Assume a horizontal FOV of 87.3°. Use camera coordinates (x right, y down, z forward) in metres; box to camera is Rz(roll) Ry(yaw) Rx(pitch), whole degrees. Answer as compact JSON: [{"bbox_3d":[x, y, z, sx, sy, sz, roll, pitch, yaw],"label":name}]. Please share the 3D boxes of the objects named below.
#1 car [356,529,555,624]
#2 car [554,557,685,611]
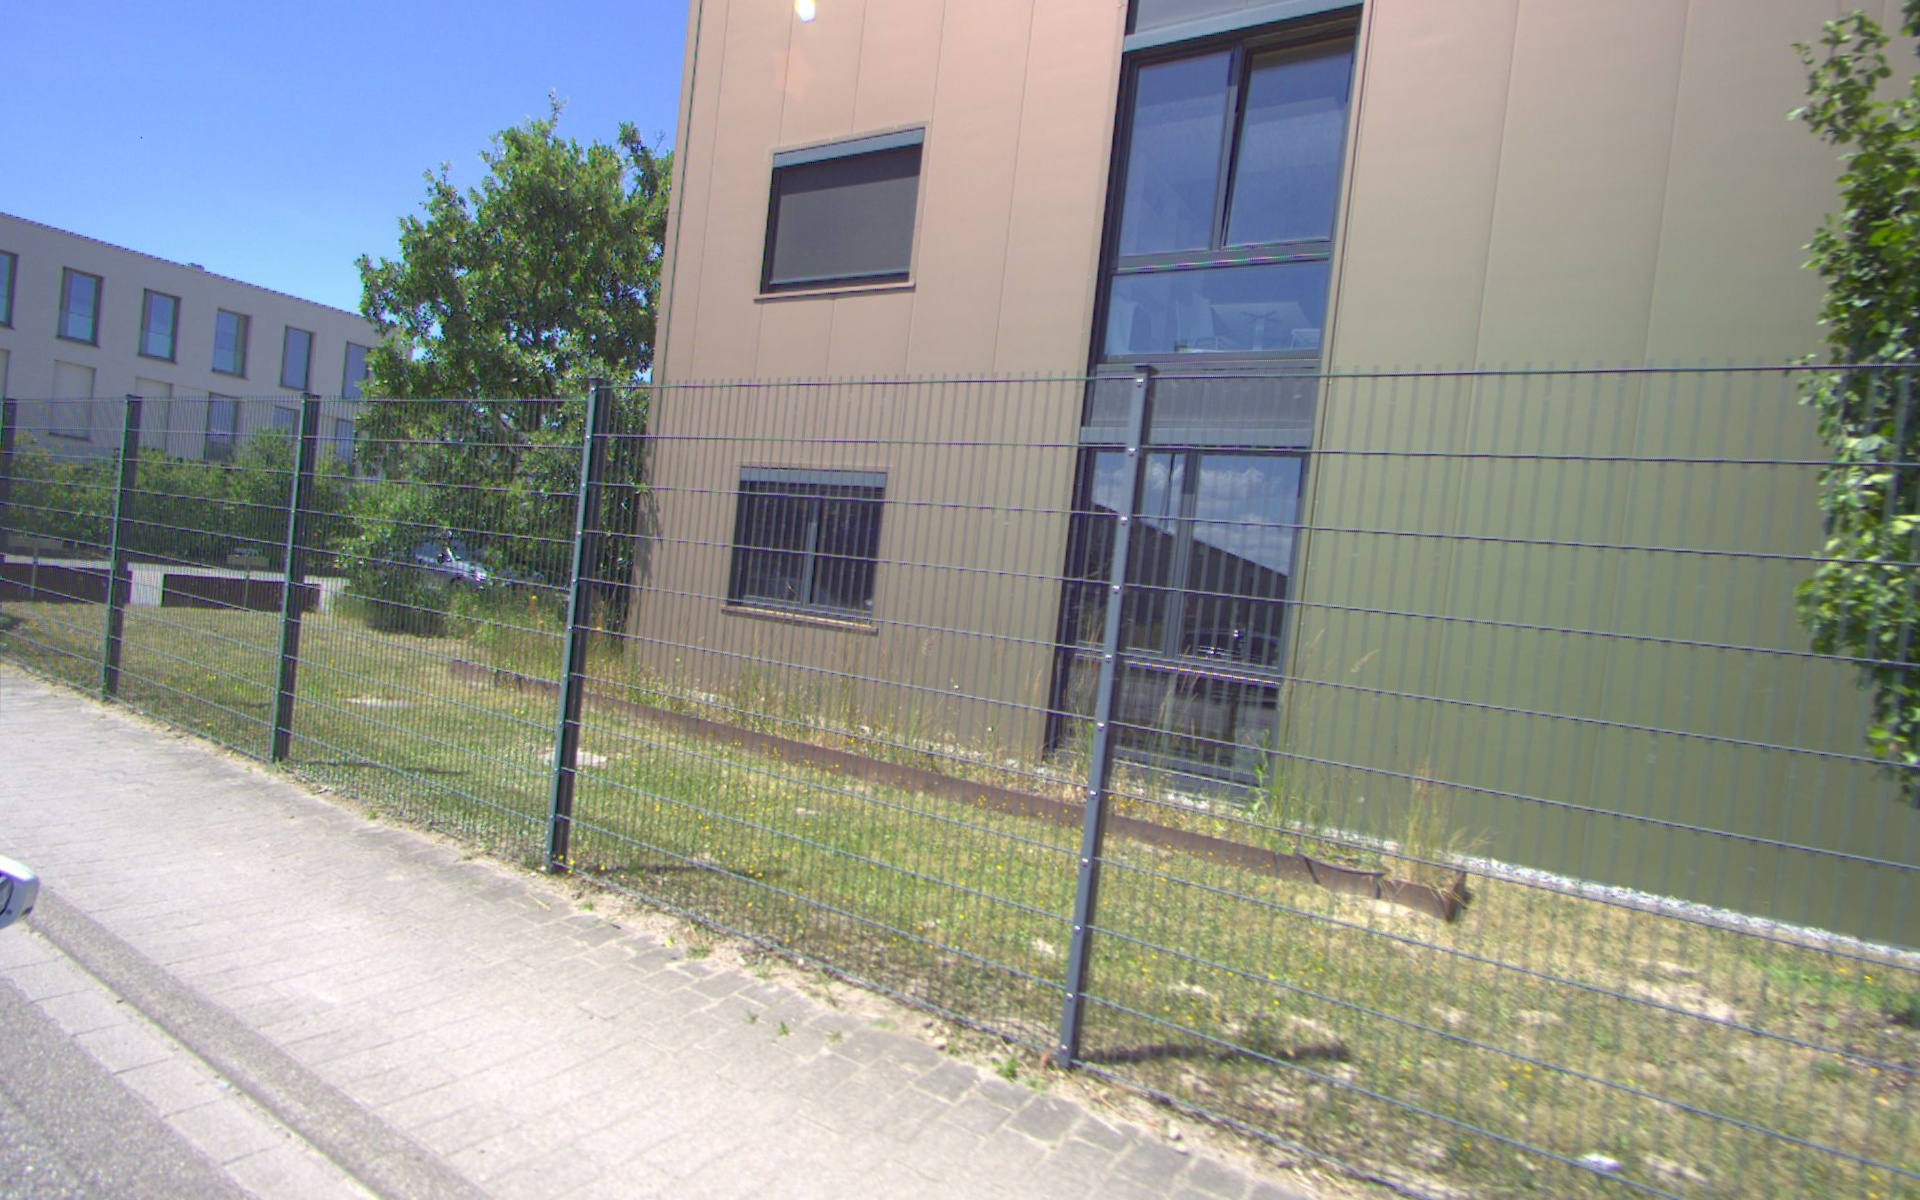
[{"bbox_3d":[-10.052,-0.484,19.979,3.934,1.462,1.656,6,1,32],"label":"car"},{"bbox_3d":[-11.826,-0.538,35.140,1.763,1.372,3.990,8,0,33],"label":"car"}]
